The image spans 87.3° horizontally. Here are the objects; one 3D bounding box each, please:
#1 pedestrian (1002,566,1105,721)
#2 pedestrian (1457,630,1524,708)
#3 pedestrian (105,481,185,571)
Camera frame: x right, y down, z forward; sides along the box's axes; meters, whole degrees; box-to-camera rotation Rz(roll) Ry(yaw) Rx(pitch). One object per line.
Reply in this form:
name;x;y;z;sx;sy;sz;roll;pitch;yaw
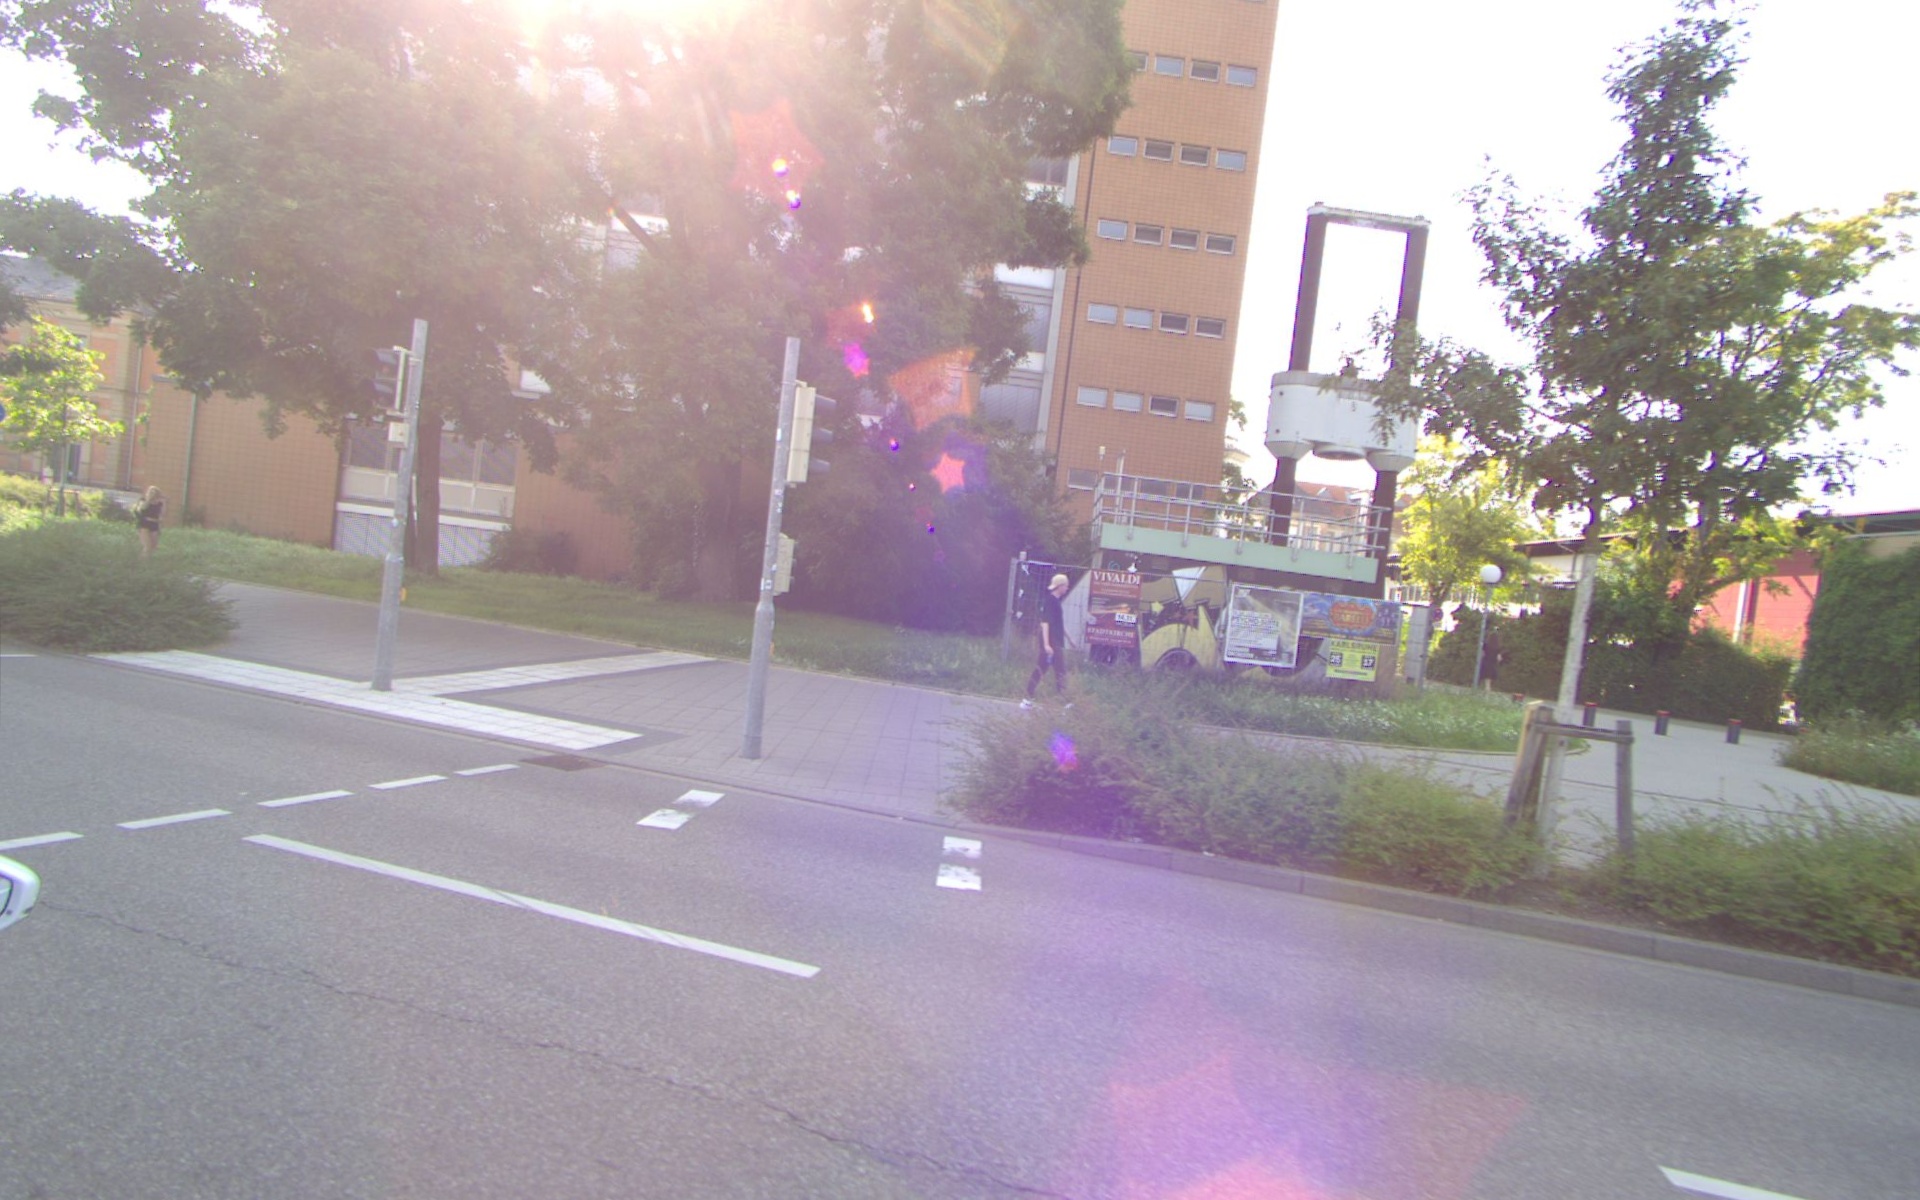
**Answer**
pedestrian;1.212;0.527;12.854;0.984;1.807;0.960;7;3;14
pedestrian;13.209;1.701;25.067;0.943;1.758;1.002;6;3;3
pedestrian;-14.566;-1.319;17.993;0.842;1.461;0.726;7;1;25
